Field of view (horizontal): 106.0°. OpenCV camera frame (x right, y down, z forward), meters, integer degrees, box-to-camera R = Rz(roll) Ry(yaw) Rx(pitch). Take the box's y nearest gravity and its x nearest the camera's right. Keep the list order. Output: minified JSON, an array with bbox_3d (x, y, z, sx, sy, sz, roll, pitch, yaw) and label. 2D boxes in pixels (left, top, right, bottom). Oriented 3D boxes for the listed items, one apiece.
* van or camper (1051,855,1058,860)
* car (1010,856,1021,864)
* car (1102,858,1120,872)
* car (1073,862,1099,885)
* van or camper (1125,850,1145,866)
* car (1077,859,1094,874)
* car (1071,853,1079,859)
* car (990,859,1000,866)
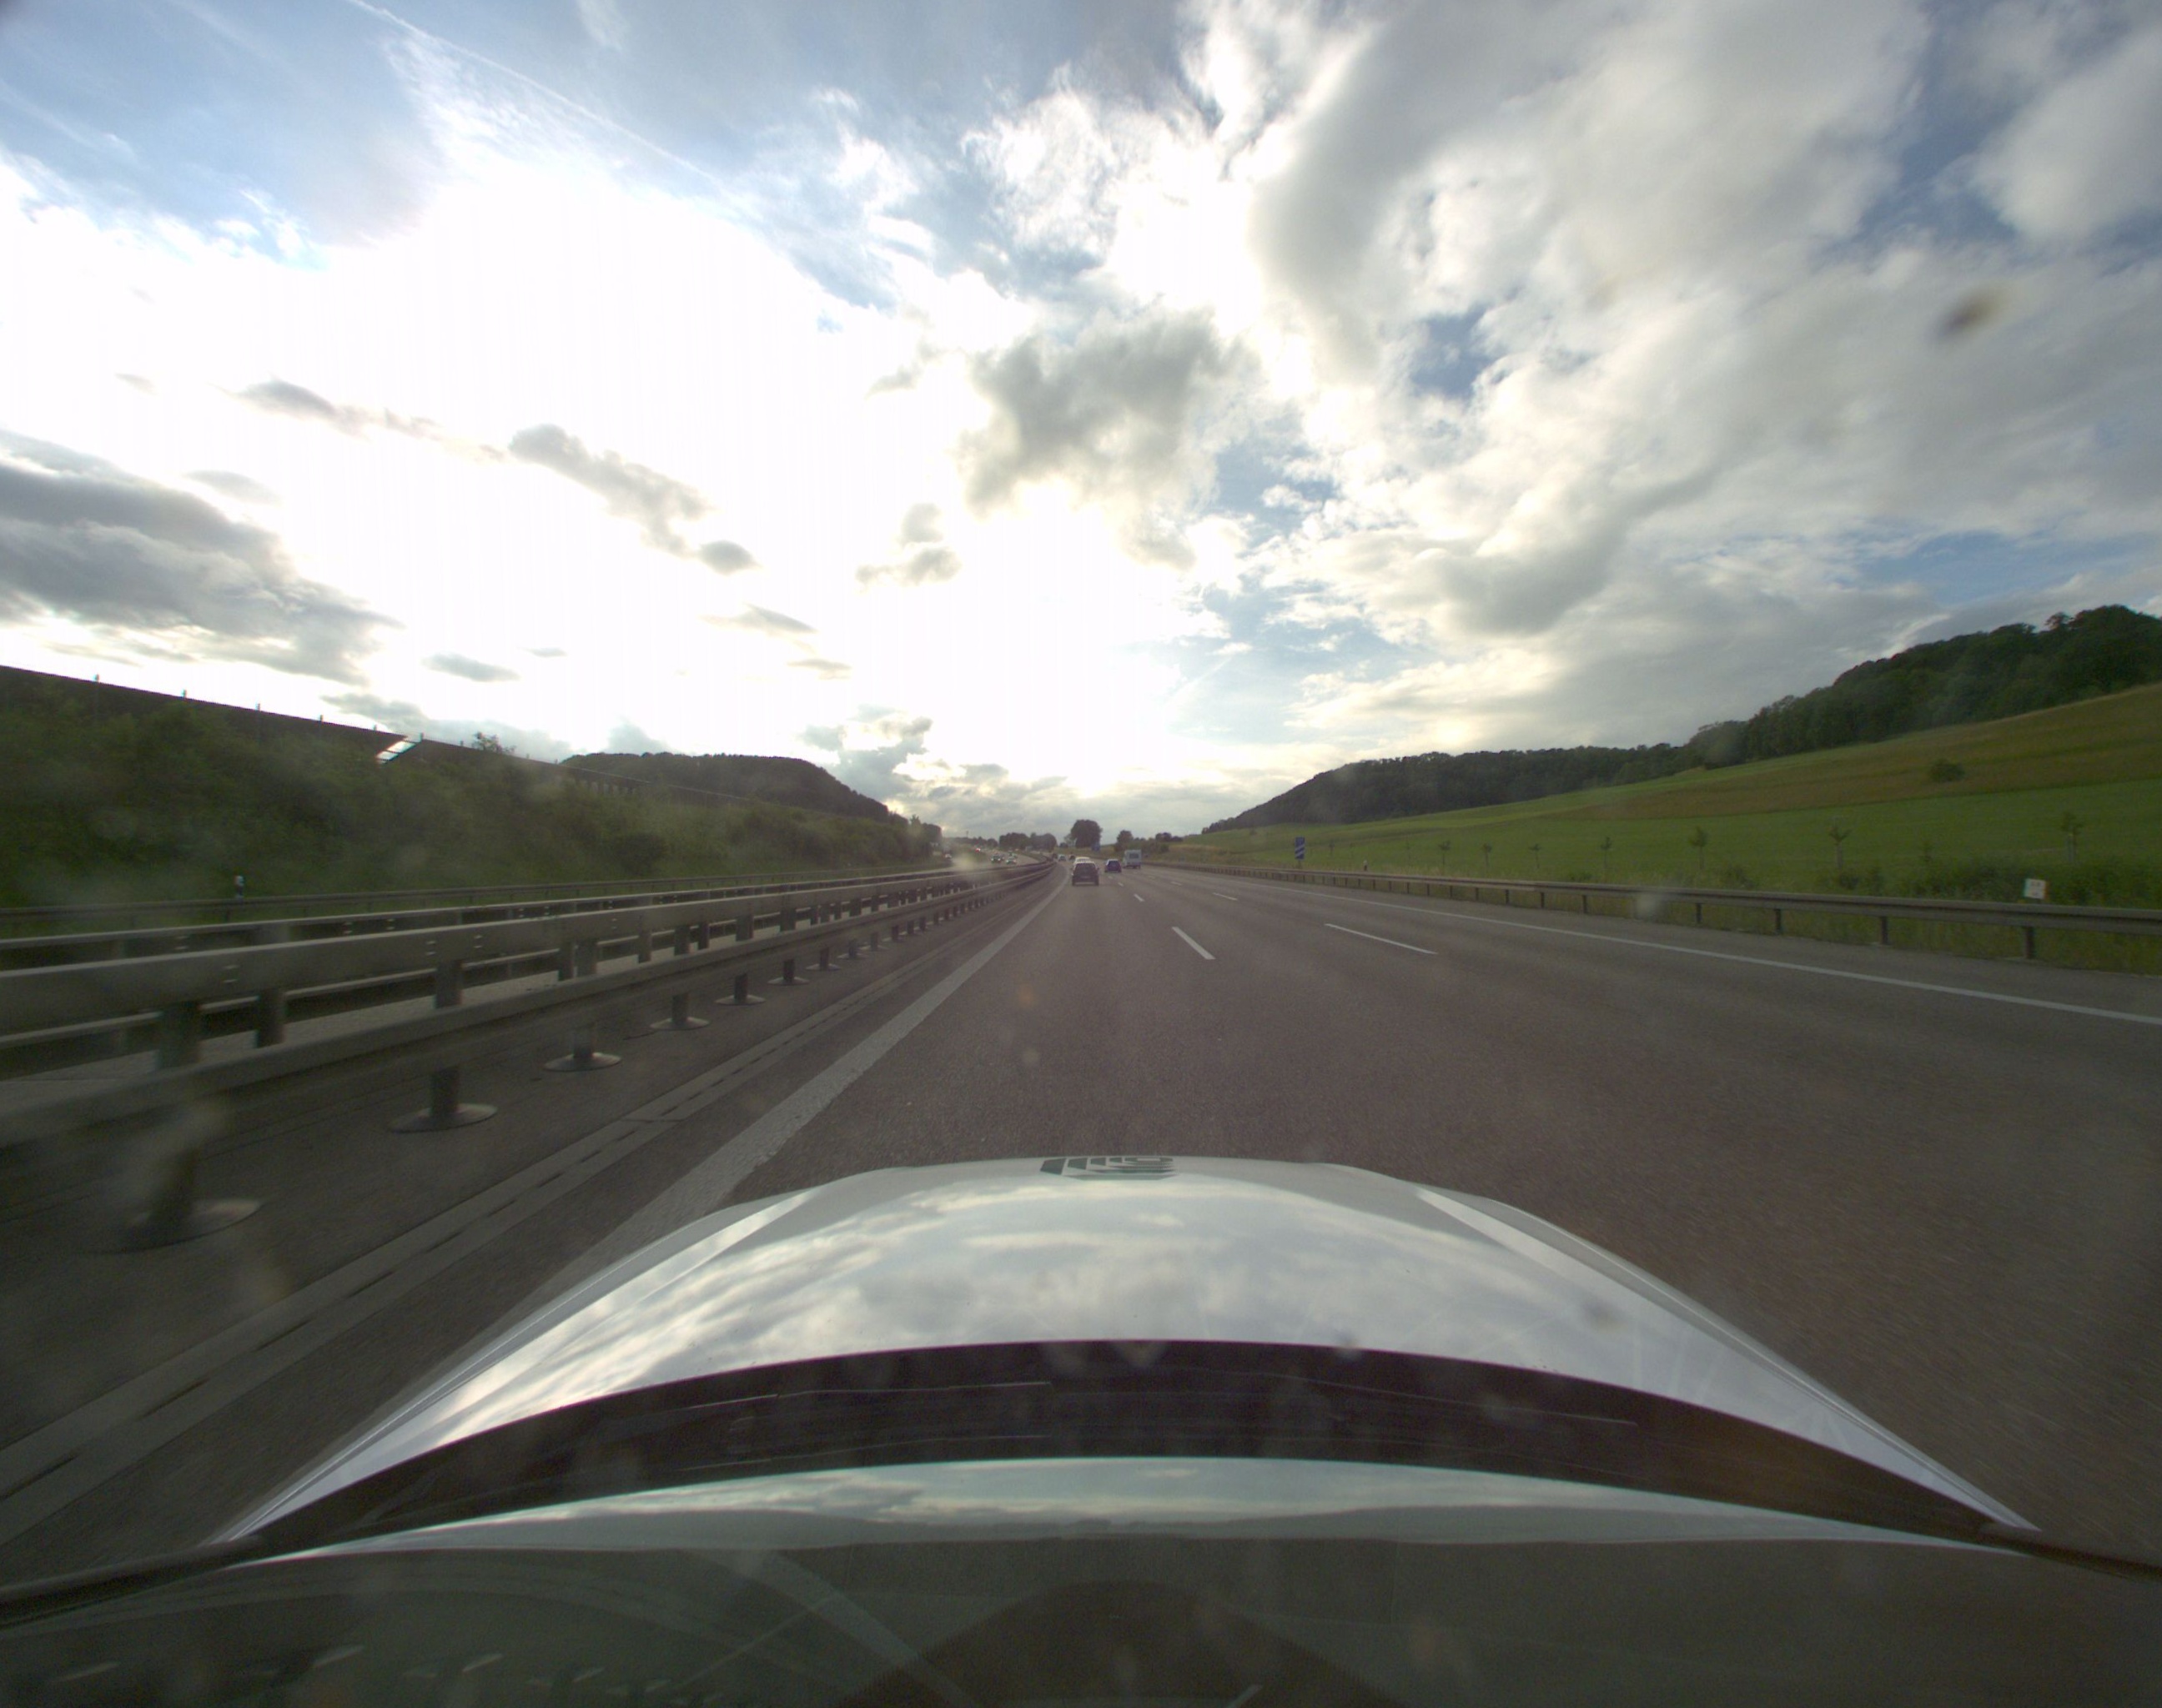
[{"bbox_3d":[-8.041,1.117,245.953,1.958,1.433,4.003,0,-1,3],"label":"van or camper"},{"bbox_3d":[-12.835,1.163,159.607,1.989,1.430,4.582,0,-1,-3],"label":"car"},{"bbox_3d":[3.330,1.195,90.194,1.761,1.433,3.999,-1,0,-1],"label":"car"},{"bbox_3d":[0.272,1.155,50.434,1.533,1.348,3.675,-1,0,-1],"label":"car"},{"bbox_3d":[7.406,0.545,112.466,2.538,2.239,5.331,-1,0,2],"label":"van or camper"},{"bbox_3d":[0.448,1.158,78.525,1.560,1.380,3.999,-1,0,0],"label":"car"},{"bbox_3d":[-1.684,0.548,223.493,1.951,1.574,4.000,0,-1,0],"label":"car"},{"bbox_3d":[-19.367,1.919,183.422,1.771,1.596,3.998,0,-1,-1],"label":"car"}]
